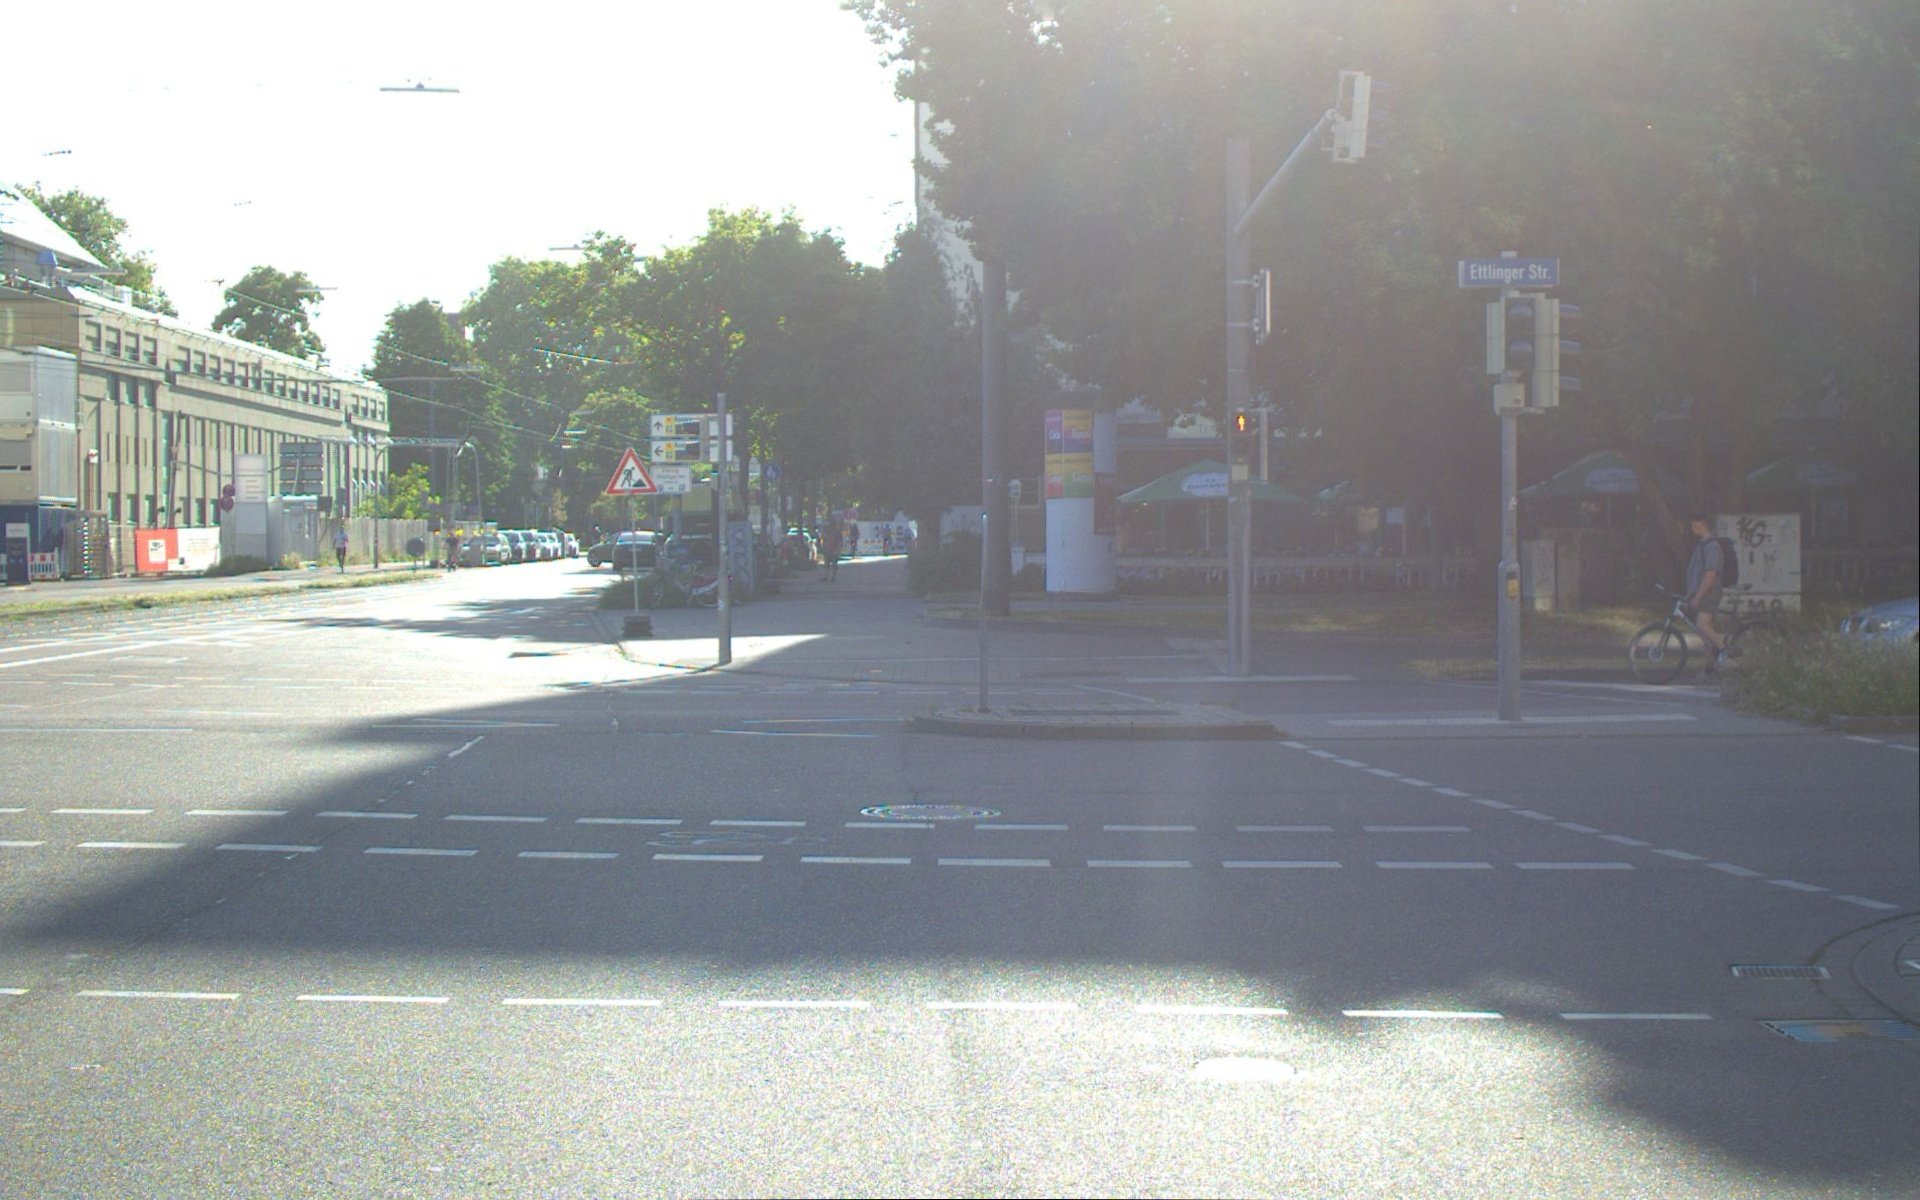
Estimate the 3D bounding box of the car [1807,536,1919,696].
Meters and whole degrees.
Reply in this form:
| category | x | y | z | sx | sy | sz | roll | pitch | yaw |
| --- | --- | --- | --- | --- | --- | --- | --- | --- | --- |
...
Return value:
| category | x | y | z | sx | sy | sz | roll | pitch | yaw |
| --- | --- | --- | --- | --- | --- | --- | --- | --- | --- |
| car | 10.831 | 0.171 | 33.597 | 4.576 | 1.511 | 2.000 | 1 | 1 | 0 |

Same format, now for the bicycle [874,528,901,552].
| category | x | y | z | sx | sy | sz | roll | pitch | yaw |
| --- | --- | --- | --- | --- | --- | --- | --- | --- | --- |
| bicycle | -3.698 | -3.051 | 175.426 | 0.890 | 1.215 | 2.794 | 1 | 1 | -12 |

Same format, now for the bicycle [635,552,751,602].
| category | x | y | z | sx | sy | sz | roll | pitch | yaw |
| --- | --- | --- | --- | --- | --- | --- | --- | --- | --- |
| bicycle | -5.216 | -0.459 | 67.236 | 2.244 | 0.937 | 0.654 | -1 | 1 | -5 |

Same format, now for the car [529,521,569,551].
| category | x | y | z | sx | sy | sz | roll | pitch | yaw |
| --- | --- | --- | --- | --- | --- | --- | --- | --- | --- |
| car | -23.256 | -3.625 | 194.715 | 1.993 | 1.638 | 4.001 | -1 | 1 | -4 |

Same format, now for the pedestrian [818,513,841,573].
| category | x | y | z | sx | sy | sz | roll | pitch | yaw |
| --- | --- | --- | --- | --- | --- | --- | --- | --- | --- |
| pedestrian | -3.712 | -1.629 | 97.706 | 0.576 | 1.683 | 0.585 | -1 | 1 | -8 |

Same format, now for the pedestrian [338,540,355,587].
| category | x | y | z | sx | sy | sz | roll | pitch | yaw |
| --- | --- | --- | --- | --- | --- | --- | --- | --- | --- |
| pedestrian | -25.090 | -1.496 | 140.645 | 0.588 | 1.883 | 0.478 | 1 | 0 | -2 |

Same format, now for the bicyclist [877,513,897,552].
| category | x | y | z | sx | sy | sz | roll | pitch | yaw |
| --- | --- | --- | --- | --- | --- | --- | --- | --- | --- |
| bicyclist | -3.727 | -3.449 | 175.582 | 0.890 | 2.007 | 0.749 | 1 | 0 | -12 |

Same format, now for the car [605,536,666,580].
| category | x | y | z | sx | sy | sz | roll | pitch | yaw |
| --- | --- | --- | --- | --- | --- | --- | --- | --- | --- |
| car | -12.513 | -1.606 | 132.580 | 1.993 | 1.634 | 4.000 | 1 | 1 | -1 |

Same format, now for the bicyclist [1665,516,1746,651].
| category | x | y | z | sx | sy | sz | roll | pitch | yaw |
| --- | --- | --- | --- | --- | --- | --- | --- | --- | --- |
| bicyclist | 7.885 | -0.179 | 36.403 | 0.747 | 1.401 | 0.702 | 1 | 0 | 6 |

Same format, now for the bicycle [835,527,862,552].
| category | x | y | z | sx | sy | sz | roll | pitch | yaw |
| --- | --- | --- | --- | --- | --- | --- | --- | --- | --- |
| bicycle | -5.692 | -3.073 | 174.893 | 0.890 | 1.215 | 2.794 | 1 | 1 | -12 |

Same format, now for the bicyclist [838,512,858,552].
| category | x | y | z | sx | sy | sz | roll | pitch | yaw |
| --- | --- | --- | --- | --- | --- | --- | --- | --- | --- |
| bicyclist | -5.689 | -3.469 | 174.933 | 0.890 | 2.007 | 0.749 | 1 | 0 | -12 |

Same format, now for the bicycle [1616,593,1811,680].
| category | x | y | z | sx | sy | sz | roll | pitch | yaw |
| --- | --- | --- | --- | --- | --- | --- | --- | --- | --- |
| bicycle | 7.967 | 0.384 | 36.404 | 1.944 | 0.886 | 0.718 | 1 | 0 | 6 |
